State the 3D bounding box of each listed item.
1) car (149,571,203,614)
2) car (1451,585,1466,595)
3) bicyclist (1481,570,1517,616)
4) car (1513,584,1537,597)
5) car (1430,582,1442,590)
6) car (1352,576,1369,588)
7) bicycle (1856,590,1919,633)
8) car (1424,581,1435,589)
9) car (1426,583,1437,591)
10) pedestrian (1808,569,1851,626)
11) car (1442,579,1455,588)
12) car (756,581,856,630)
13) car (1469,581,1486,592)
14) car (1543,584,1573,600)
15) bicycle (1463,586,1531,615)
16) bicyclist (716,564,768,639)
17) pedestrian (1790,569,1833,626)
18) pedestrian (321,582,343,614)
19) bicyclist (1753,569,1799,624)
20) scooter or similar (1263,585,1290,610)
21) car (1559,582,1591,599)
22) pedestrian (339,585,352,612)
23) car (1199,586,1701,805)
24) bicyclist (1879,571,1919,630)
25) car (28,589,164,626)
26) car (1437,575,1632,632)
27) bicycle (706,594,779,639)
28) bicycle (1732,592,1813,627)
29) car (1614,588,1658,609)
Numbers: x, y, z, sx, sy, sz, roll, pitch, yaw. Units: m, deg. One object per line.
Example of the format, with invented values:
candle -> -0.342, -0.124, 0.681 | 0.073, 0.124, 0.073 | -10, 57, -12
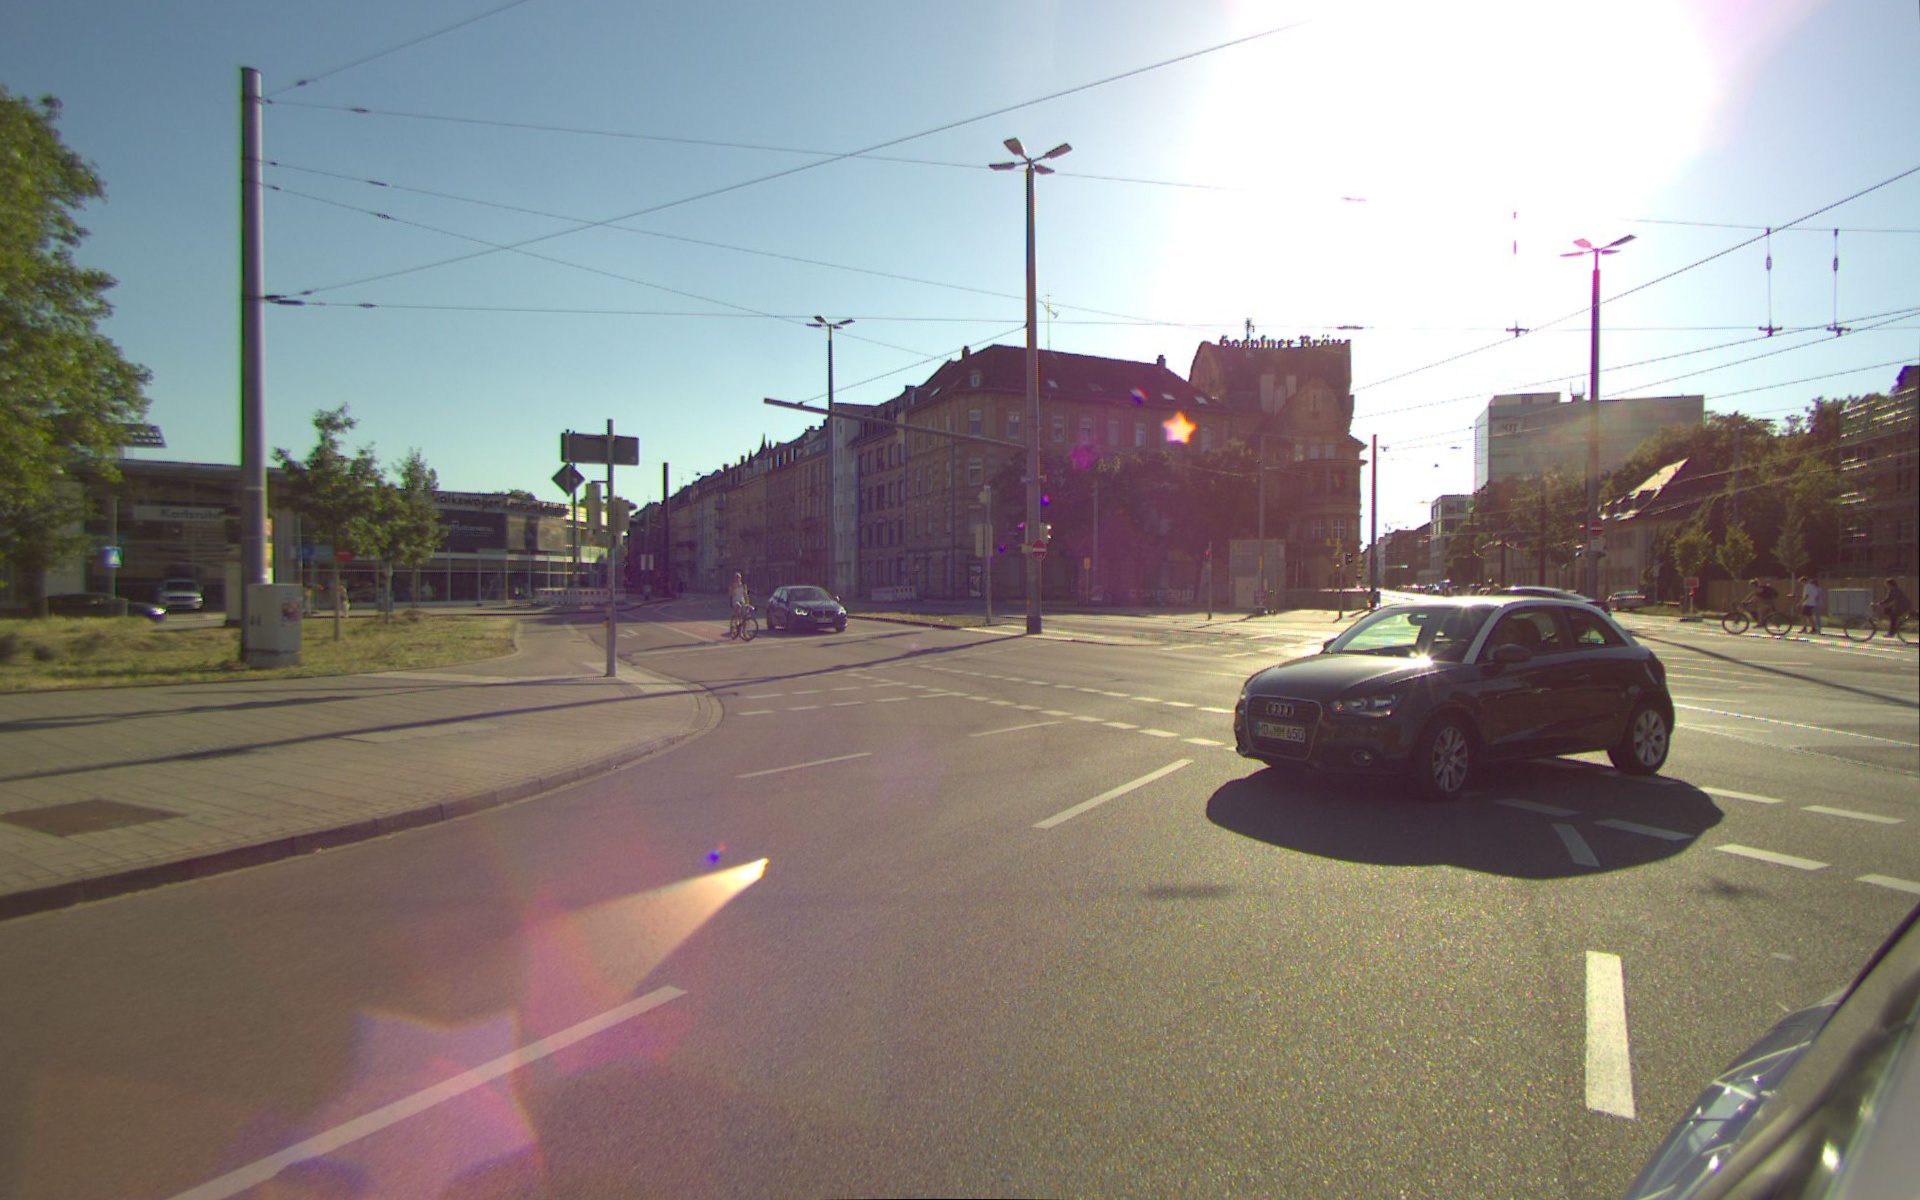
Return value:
car -> -40.197, -0.408, 51.971 | 1.962, 2.039, 3.999 | 3, -1, -36
car -> 82.209, -1.679, 166.927 | 1.734, 1.626, 3.992 | 0, -1, 20
bicyclist -> 20.071, -0.266, 37.705 | 0.755, 1.716, 0.972 | 1, 0, -44
car -> 64.897, -1.070, 116.354 | 1.734, 1.482, 3.992 | 0, -1, 20
car -> 93.402, -2.758, 198.796 | 1.734, 1.482, 3.992 | 0, -1, 20
car -> 73.171, -3.264, 184.899 | 1.968, 2.039, 3.987 | 2, -1, 10
bicycle -> 26.083, 0.313, 27.971 | 0.637, 1.137, 1.900 | 3, -1, -41
car -> 99.049, -3.140, 213.632 | 1.734, 1.482, 3.992 | 0, -1, 20
car -> 95.251, -2.646, 204.490 | 1.734, 1.482, 3.992 | 0, -1, 20
pedestrian -> 29.396, -0.084, 34.209 | 0.677, 1.872, 0.821 | 2, -1, -11
car -> 85.812, -2.828, 177.769 | 1.734, 1.482, 3.992 | 0, -1, 20
car -> -4.976, 0.117, 32.337 | 1.959, 1.471, 4.006 | 0, 1, -28
car -> 75.339, -2.022, 147.427 | 1.734, 1.482, 3.992 | 0, -1, 20
car -> 58.107, -0.782, 98.325 | 1.734, 1.482, 3.992 | 0, -1, 20
bicycle -> 20.015, 0.011, 37.752 | 0.755, 1.040, 2.101 | 1, 1, -43
bicyclist -> -6.163, 0.030, 28.596 | 1.015, 2.038, 1.144 | -2, 2, -37
pedestrian -> 28.658, -0.070, 34.076 | 0.677, 1.872, 0.821 | 2, -1, -11
pedestrian -> -30.522, -0.110, 49.181 | 0.828, 1.534, 0.713 | 1, 1, 42
bicyclist -> 26.152, -0.113, 32.431 | 0.635, 1.716, 0.975 | 1, 0, -33
scooter or similar -> 15.878, -0.147, 50.793 | 0.715, 1.216, 1.447 | 1, 1, -6
car -> 56.302, -0.879, 92.688 | 1.734, 1.482, 3.992 | 0, -1, 20
pedestrian -> -30.142, -0.091, 49.637 | 0.570, 1.331, 0.405 | 1, 1, 42
car -> 3.962, 0.595, 8.149 | 3.753, 1.405, 1.698 | 0, 1, -26
bicyclist -> 26.103, 0.020, 27.967 | 0.637, 1.589, 0.973 | 3, -1, -42
car -> -35.545, 0.302, 41.786 | 4.088, 1.354, 1.754 | 3, -1, -36
car -> 16.605, 0.094, 29.502 | 1.782, 1.511, 4.655 | -1, 0, -33
bicycle -> -6.156, 0.438, 28.537 | 1.015, 1.137, 2.530 | -3, 2, -37
bicycle -> 26.083, 0.292, 32.520 | 0.635, 1.040, 1.908 | 1, 1, -33
car -> 50.003, -0.069, 74.910 | 1.734, 1.482, 3.992 | 0, -1, 20
